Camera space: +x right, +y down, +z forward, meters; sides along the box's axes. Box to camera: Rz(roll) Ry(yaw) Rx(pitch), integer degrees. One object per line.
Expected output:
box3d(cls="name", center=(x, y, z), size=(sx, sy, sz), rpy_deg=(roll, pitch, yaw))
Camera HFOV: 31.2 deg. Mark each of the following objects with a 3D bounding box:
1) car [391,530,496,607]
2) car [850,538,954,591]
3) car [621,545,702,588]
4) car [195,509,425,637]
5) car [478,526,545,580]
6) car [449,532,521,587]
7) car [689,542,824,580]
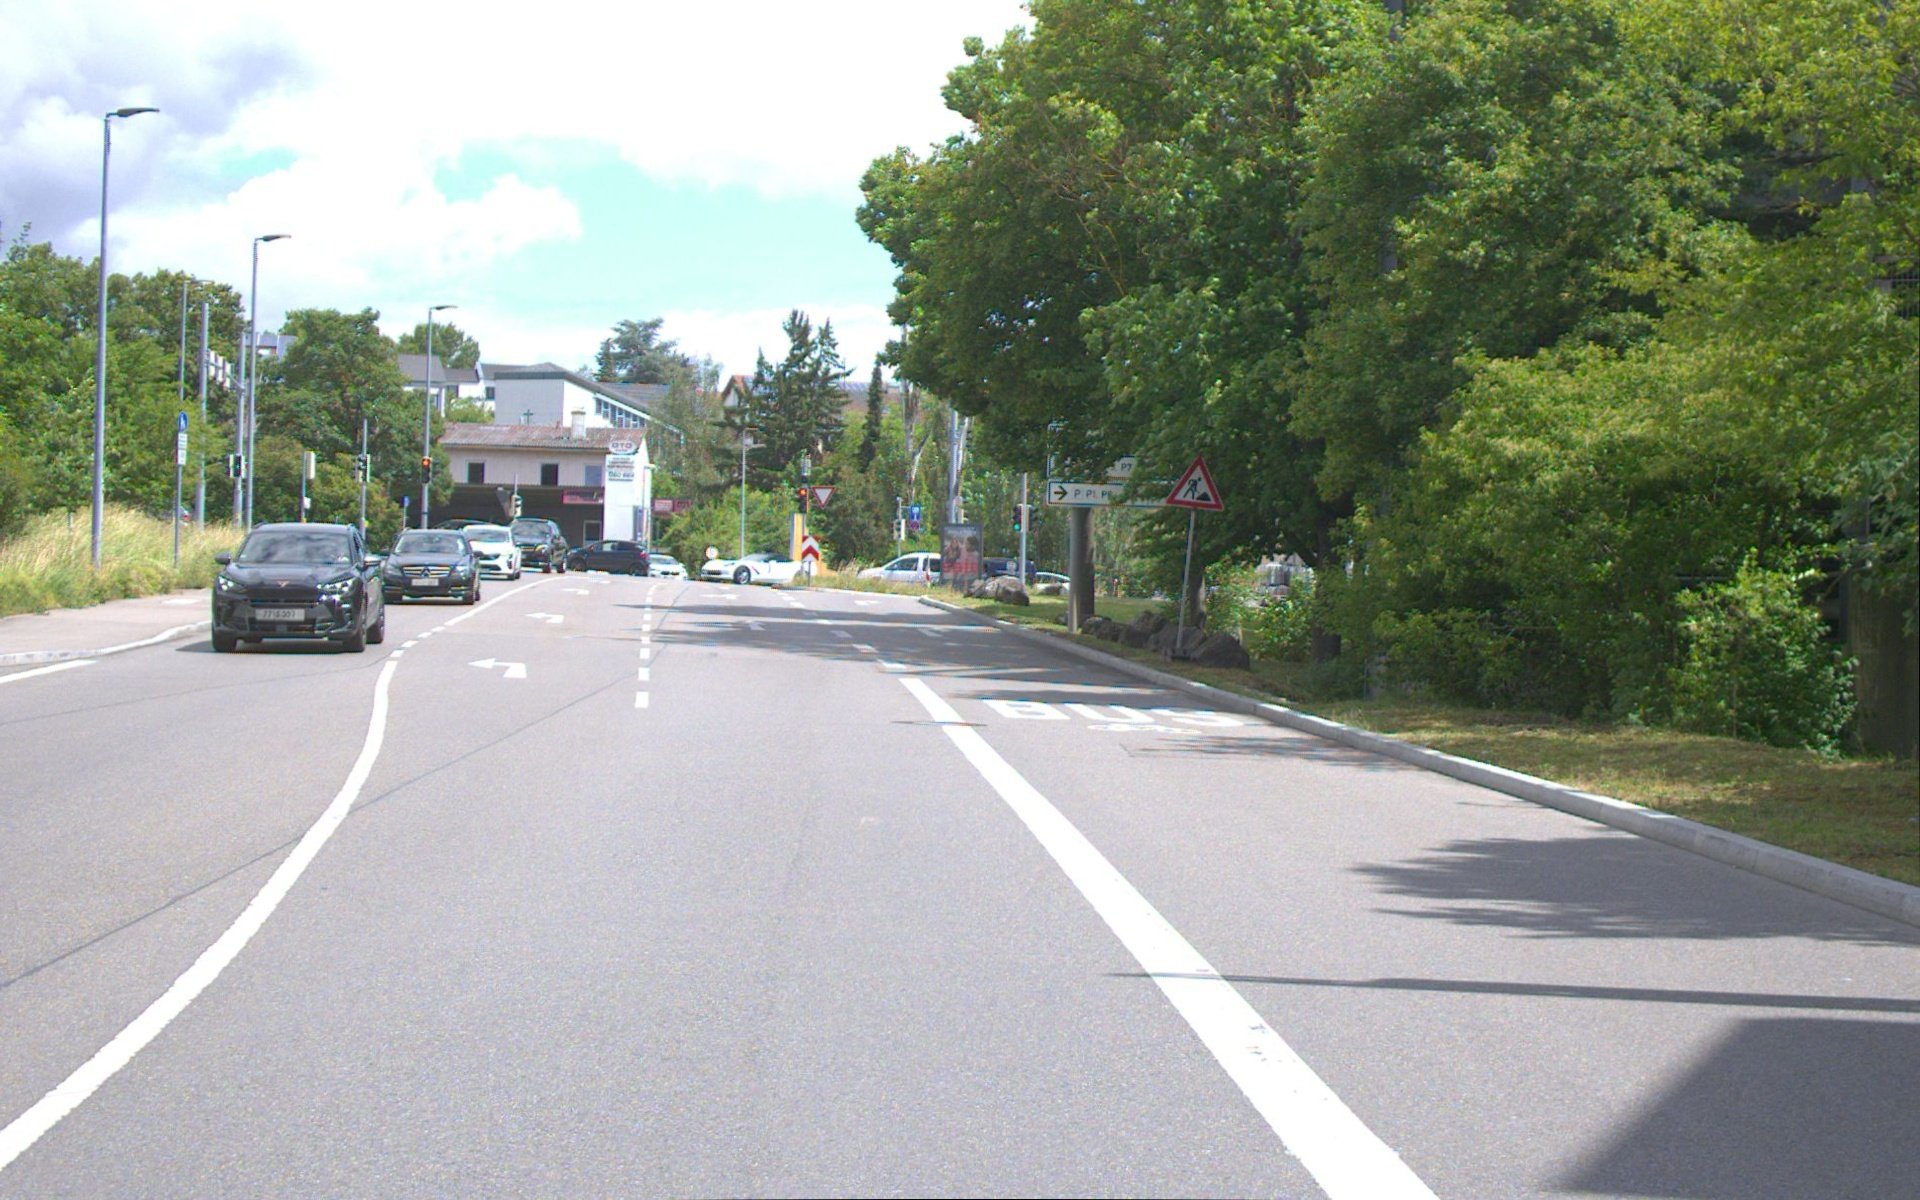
box3d(cls="car", center=(-9.964, -0.618, 66.574), size=(1.766, 1.437, 4.378), rpy_deg=(1, 1, -6))
box3d(cls="car", center=(-2.266, -1.351, 132.856), size=(3.986, 2.007, 2.000), rpy_deg=(0, 0, -2))
box3d(cls="car", center=(-13.281, -1.456, 152.757), size=(1.899, 1.853, 3.810), rpy_deg=(0, 0, -36))
box3d(cls="car", center=(-8.228, -0.384, 43.927), size=(1.823, 1.552, 4.629), rpy_deg=(0, 1, 3))
box3d(cls="car", center=(-14.215, -1.510, 109.044), size=(1.821, 1.648, 4.534), rpy_deg=(1, 1, -4))
box3d(cls="car", center=(-12.758, -1.084, 92.464), size=(1.766, 1.437, 3.901), rpy_deg=(1, 1, -6))
box3d(cls="car", center=(-7.375, -1.405, 124.977), size=(4.595, 1.287, 1.910), rpy_deg=(1, 1, -37))
